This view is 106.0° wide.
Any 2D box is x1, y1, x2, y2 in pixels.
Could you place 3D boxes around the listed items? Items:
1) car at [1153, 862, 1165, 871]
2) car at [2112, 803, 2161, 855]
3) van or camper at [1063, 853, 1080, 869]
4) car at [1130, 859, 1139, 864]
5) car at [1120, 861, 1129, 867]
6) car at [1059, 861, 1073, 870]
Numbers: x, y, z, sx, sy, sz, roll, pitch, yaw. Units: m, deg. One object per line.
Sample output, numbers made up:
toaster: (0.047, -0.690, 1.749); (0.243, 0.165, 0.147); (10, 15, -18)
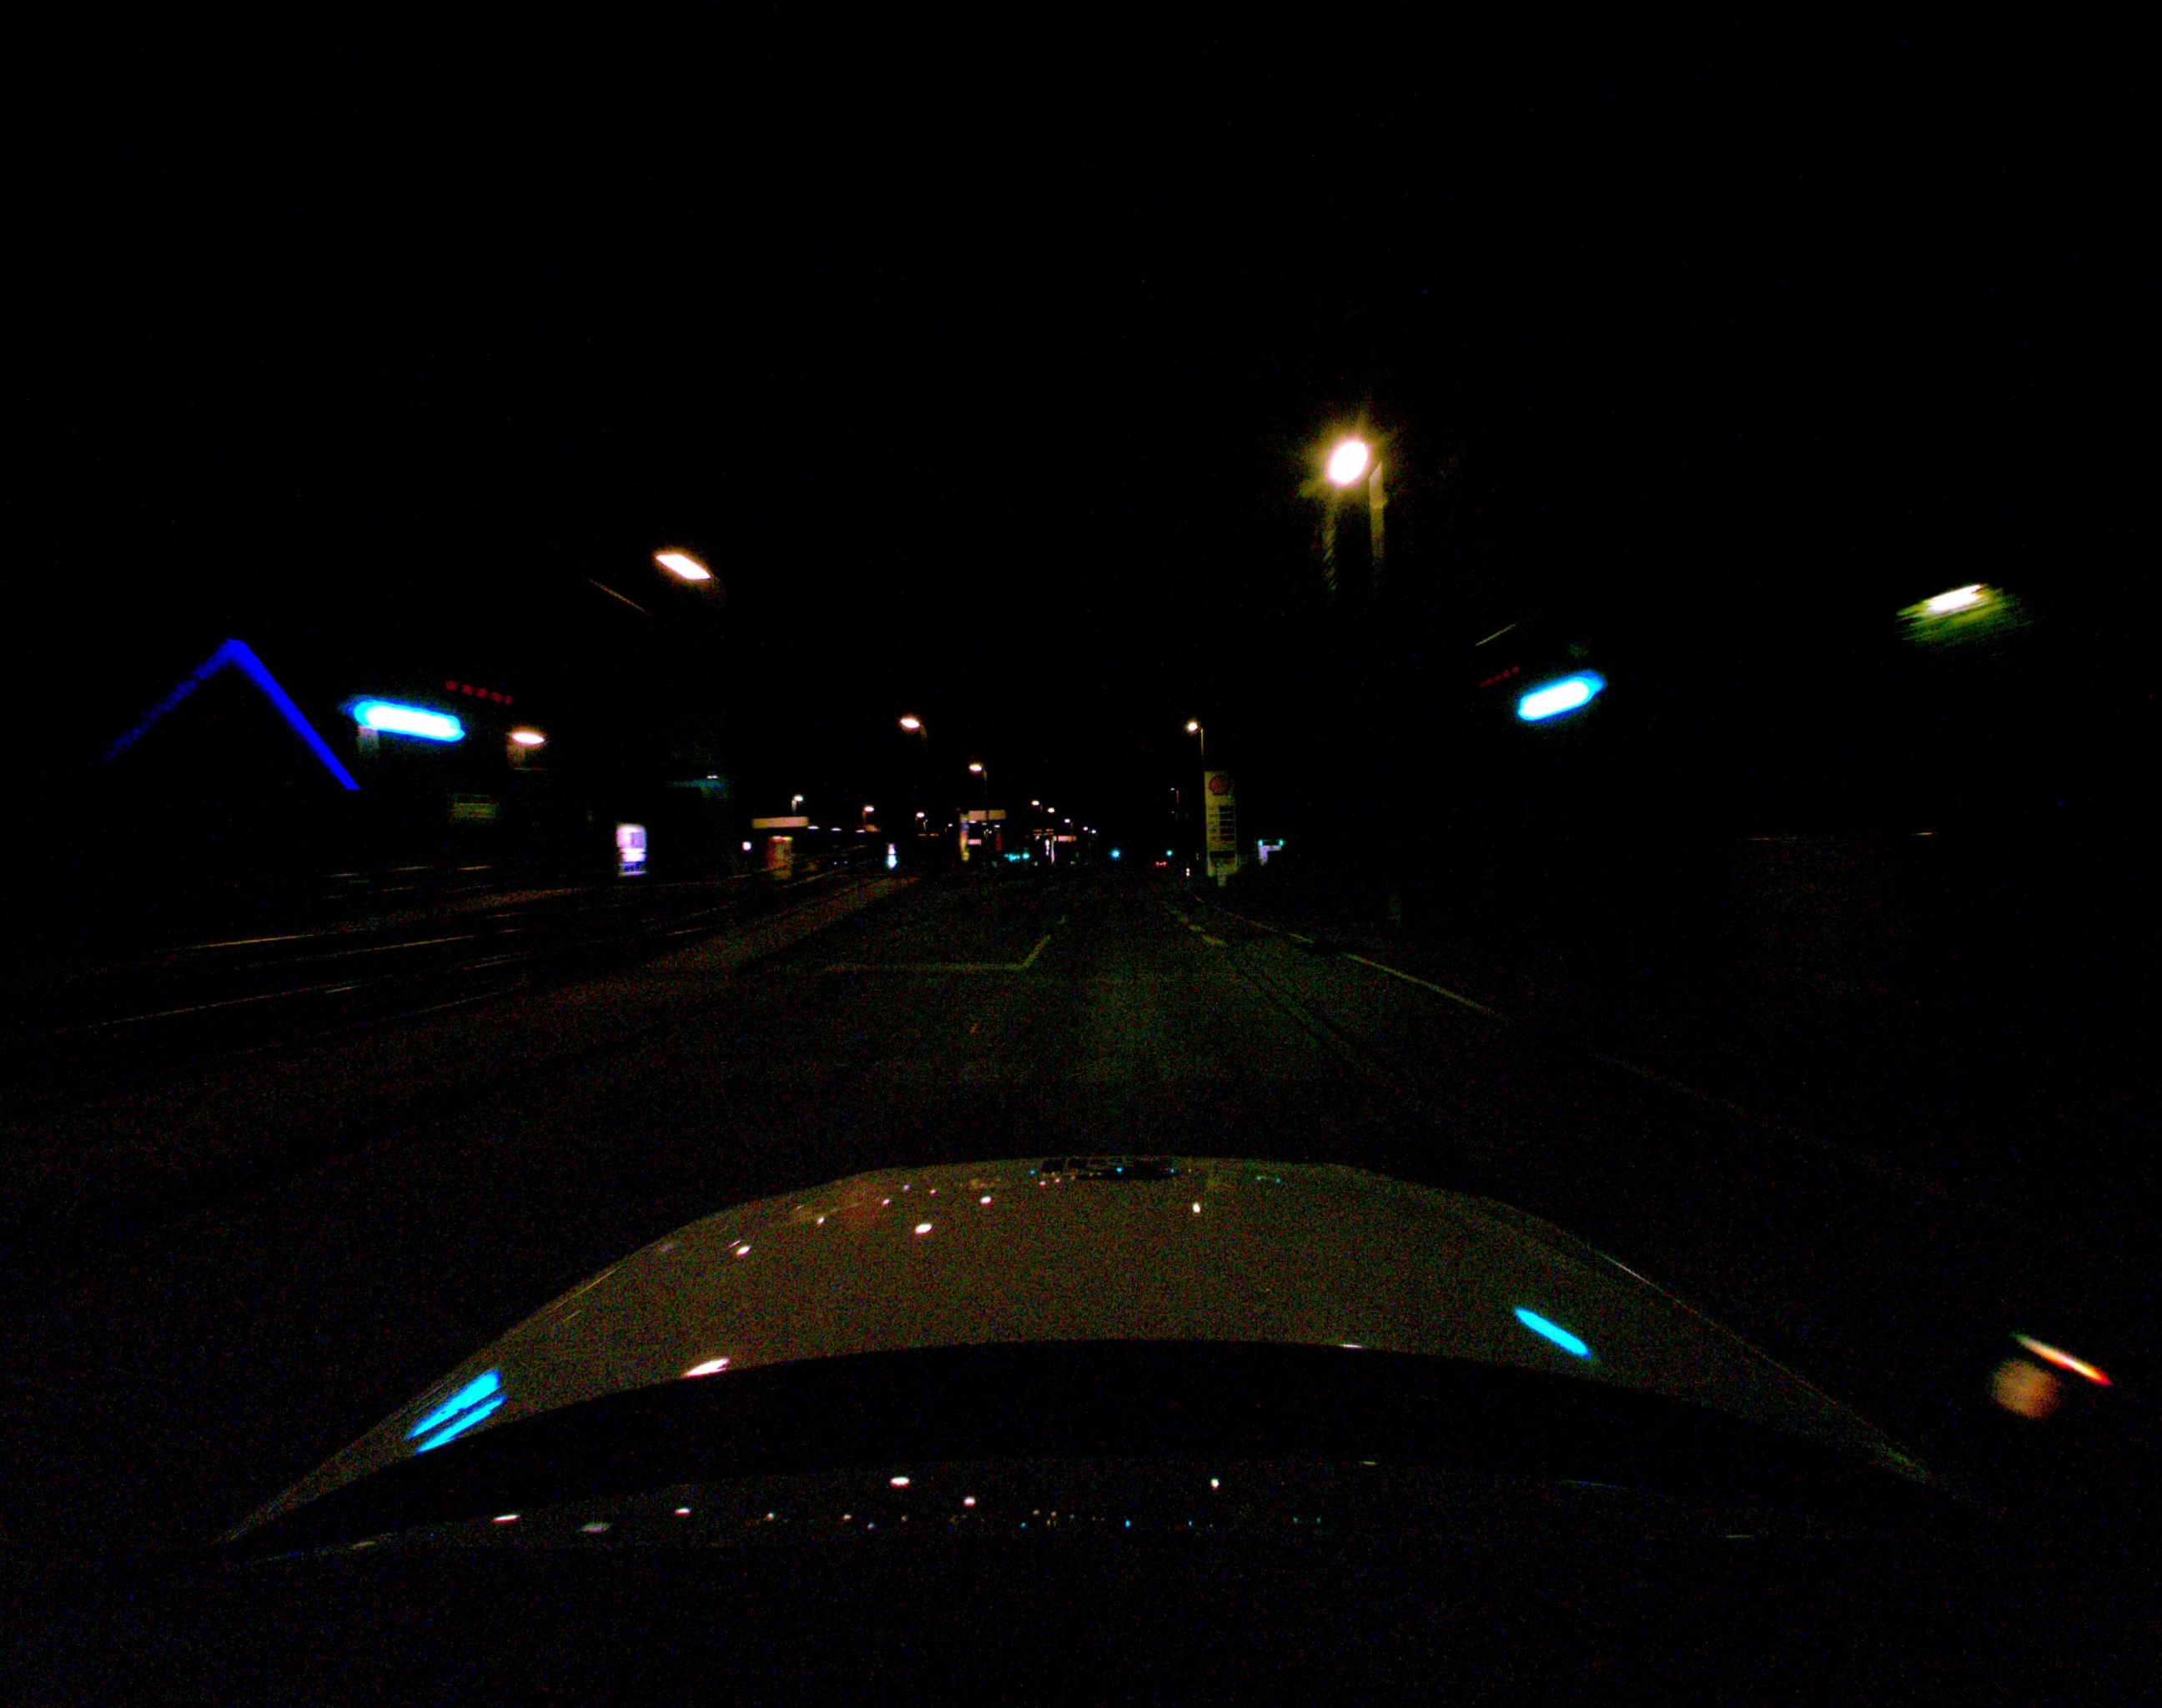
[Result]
car: (14.461, 2.245, 151.371); (2.151, 1.583, 4.020); (-1, -1, 6)
car: (32.523, -0.805, 23.285); (3.758, 1.473, 1.750); (-3, -1, 1)
van or camper: (-1.630, 1.197, 147.613); (2.261, 2.647, 5.674); (-4, -1, 6)
car: (15.898, 2.266, 241.663); (1.981, 1.338, 5.447); (-2, 0, 10)
car: (11.872, 2.639, 221.737); (1.981, 1.628, 4.690); (-2, 0, 10)
car: (-2.593, 1.935, 141.232); (1.636, 1.339, 4.555); (-6, -1, 9)
